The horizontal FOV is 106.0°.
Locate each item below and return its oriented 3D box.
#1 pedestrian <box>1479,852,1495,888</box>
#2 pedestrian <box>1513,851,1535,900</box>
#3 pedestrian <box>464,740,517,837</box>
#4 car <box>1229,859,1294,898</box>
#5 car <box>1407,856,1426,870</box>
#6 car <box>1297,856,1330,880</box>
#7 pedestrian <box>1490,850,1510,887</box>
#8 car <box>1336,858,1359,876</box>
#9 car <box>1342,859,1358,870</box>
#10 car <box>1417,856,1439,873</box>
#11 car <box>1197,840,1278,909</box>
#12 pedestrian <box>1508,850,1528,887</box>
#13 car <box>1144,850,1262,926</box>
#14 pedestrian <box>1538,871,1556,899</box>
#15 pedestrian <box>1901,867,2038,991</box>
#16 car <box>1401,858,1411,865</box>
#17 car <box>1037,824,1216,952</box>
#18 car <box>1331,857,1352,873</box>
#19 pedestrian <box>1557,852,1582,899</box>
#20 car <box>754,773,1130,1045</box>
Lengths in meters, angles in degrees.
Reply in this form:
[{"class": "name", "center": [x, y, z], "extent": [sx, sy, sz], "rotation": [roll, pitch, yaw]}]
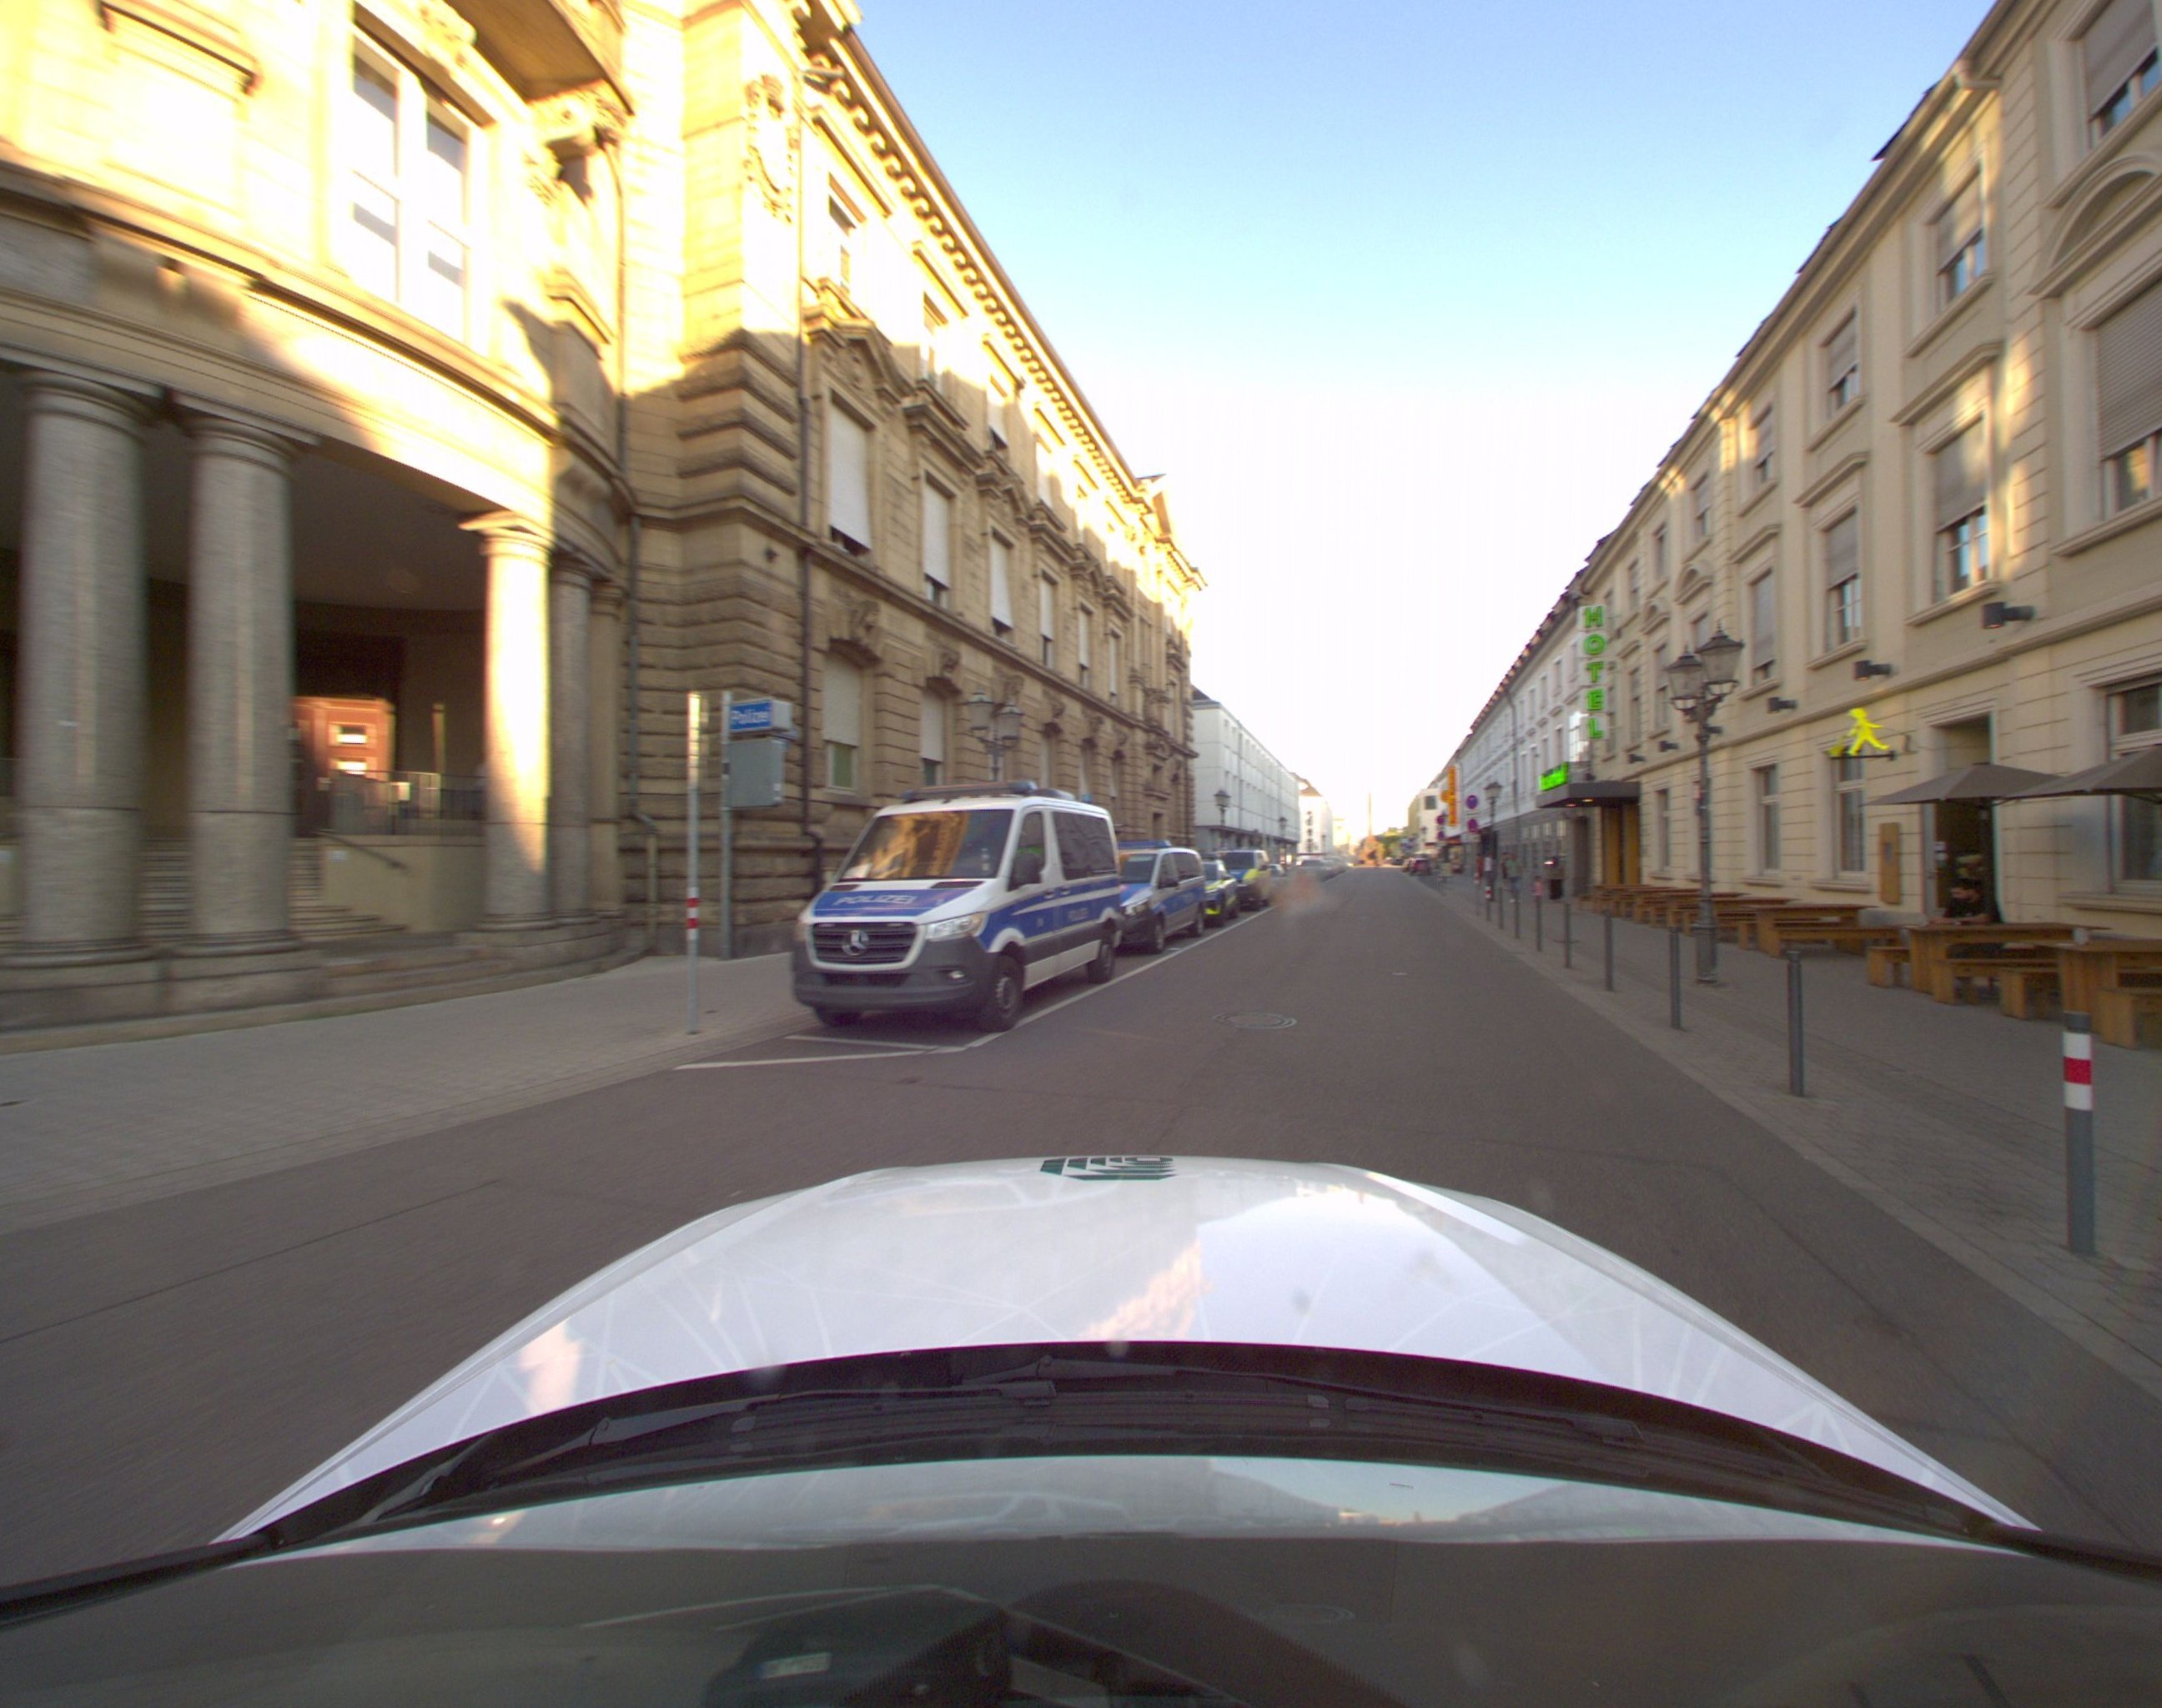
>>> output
[{"class": "pedestrian", "center": [20.175, 0.797, 40.501], "extent": [0.615, 1.789, 0.918], "rotation": [-1, -1, 22]}, {"class": "pedestrian", "center": [15.745, 0.765, 28.938], "extent": [0.602, 1.730, 0.561], "rotation": [-1, -1, 22]}, {"class": "pedestrian", "center": [-10.587, -1.166, 14.610], "extent": [0.545, 1.682, 0.531], "rotation": [-1, -1, 5]}, {"class": "car", "center": [7.489, 0.979, 33.521], "extent": [1.976, 1.494, 4.186], "rotation": [-1, -1, 21]}, {"class": "car", "center": [36.705, 1.010, 89.221], "extent": [1.786, 1.464, 4.138], "rotation": [-1, 0, 21]}, {"class": "car", "center": [16.057, 0.951, 56.111], "extent": [1.769, 1.615, 4.187], "rotation": [-1, -1, 21]}, {"class": "pedestrian", "center": [19.889, 0.666, 38.650], "extent": [0.741, 1.730, 0.886], "rotation": [-1, -1, 24]}, {"class": "car", "center": [27.419, 1.349, 83.671], "extent": [1.976, 1.728, 4.539], "rotation": [-2, -1, 21]}, {"class": "car", "center": [36.128, 1.461, 109.285], "extent": [1.769, 1.409, 4.109], "rotation": [-1, -1, 21]}, {"class": "car", "center": [32.355, 0.946, 75.985], "extent": [1.744, 1.523, 3.696], "rotation": [-1, 0, 21]}, {"class": "car", "center": [5.308, 0.675, 27.106], "extent": [1.977, 2.077, 5.013], "rotation": [-1, -1, 18]}, {"class": "pedestrian", "center": [20.645, 0.670, 38.505], "extent": [0.707, 1.730, 0.878], "rotation": [-1, -1, 23]}, {"class": "car", "center": [3.352, 0.827, 21.420], "extent": [1.976, 1.752, 5.016], "rotation": [-1, -1, 21]}, {"class": "pedestrian", "center": [16.479, 1.103, 28.788], "extent": [0.456, 0.980, 0.561], "rotation": [-1, -1, 22]}, {"class": "pedestrian", "center": [10.232, 0.837, 9.406], "extent": [0.771, 1.359, 0.725], "rotation": [-1, -1, 4]}, {"class": "car", "center": [66.193, 1.536, 165.826], "extent": [1.976, 1.464, 4.021], "rotation": [-1, -1, 22]}, {"class": "car", "center": [1.122, 0.592, 16.041], "extent": [1.976, 2.088, 5.234], "rotation": [-1, -1, 21]}, {"class": "car", "center": [28.988, 1.195, 90.714], "extent": [1.976, 1.662, 4.021], "rotation": [-1, 0, 21]}, {"class": "pedestrian", "center": [16.962, 0.751, 28.304], "extent": [0.624, 1.601, 0.618], "rotation": [-1, -1, 22]}, {"class": "car", "center": [-1.079, 0.454, 9.276], "extent": [1.977, 2.171, 5.231], "rotation": [-1, 0, 18]}]
